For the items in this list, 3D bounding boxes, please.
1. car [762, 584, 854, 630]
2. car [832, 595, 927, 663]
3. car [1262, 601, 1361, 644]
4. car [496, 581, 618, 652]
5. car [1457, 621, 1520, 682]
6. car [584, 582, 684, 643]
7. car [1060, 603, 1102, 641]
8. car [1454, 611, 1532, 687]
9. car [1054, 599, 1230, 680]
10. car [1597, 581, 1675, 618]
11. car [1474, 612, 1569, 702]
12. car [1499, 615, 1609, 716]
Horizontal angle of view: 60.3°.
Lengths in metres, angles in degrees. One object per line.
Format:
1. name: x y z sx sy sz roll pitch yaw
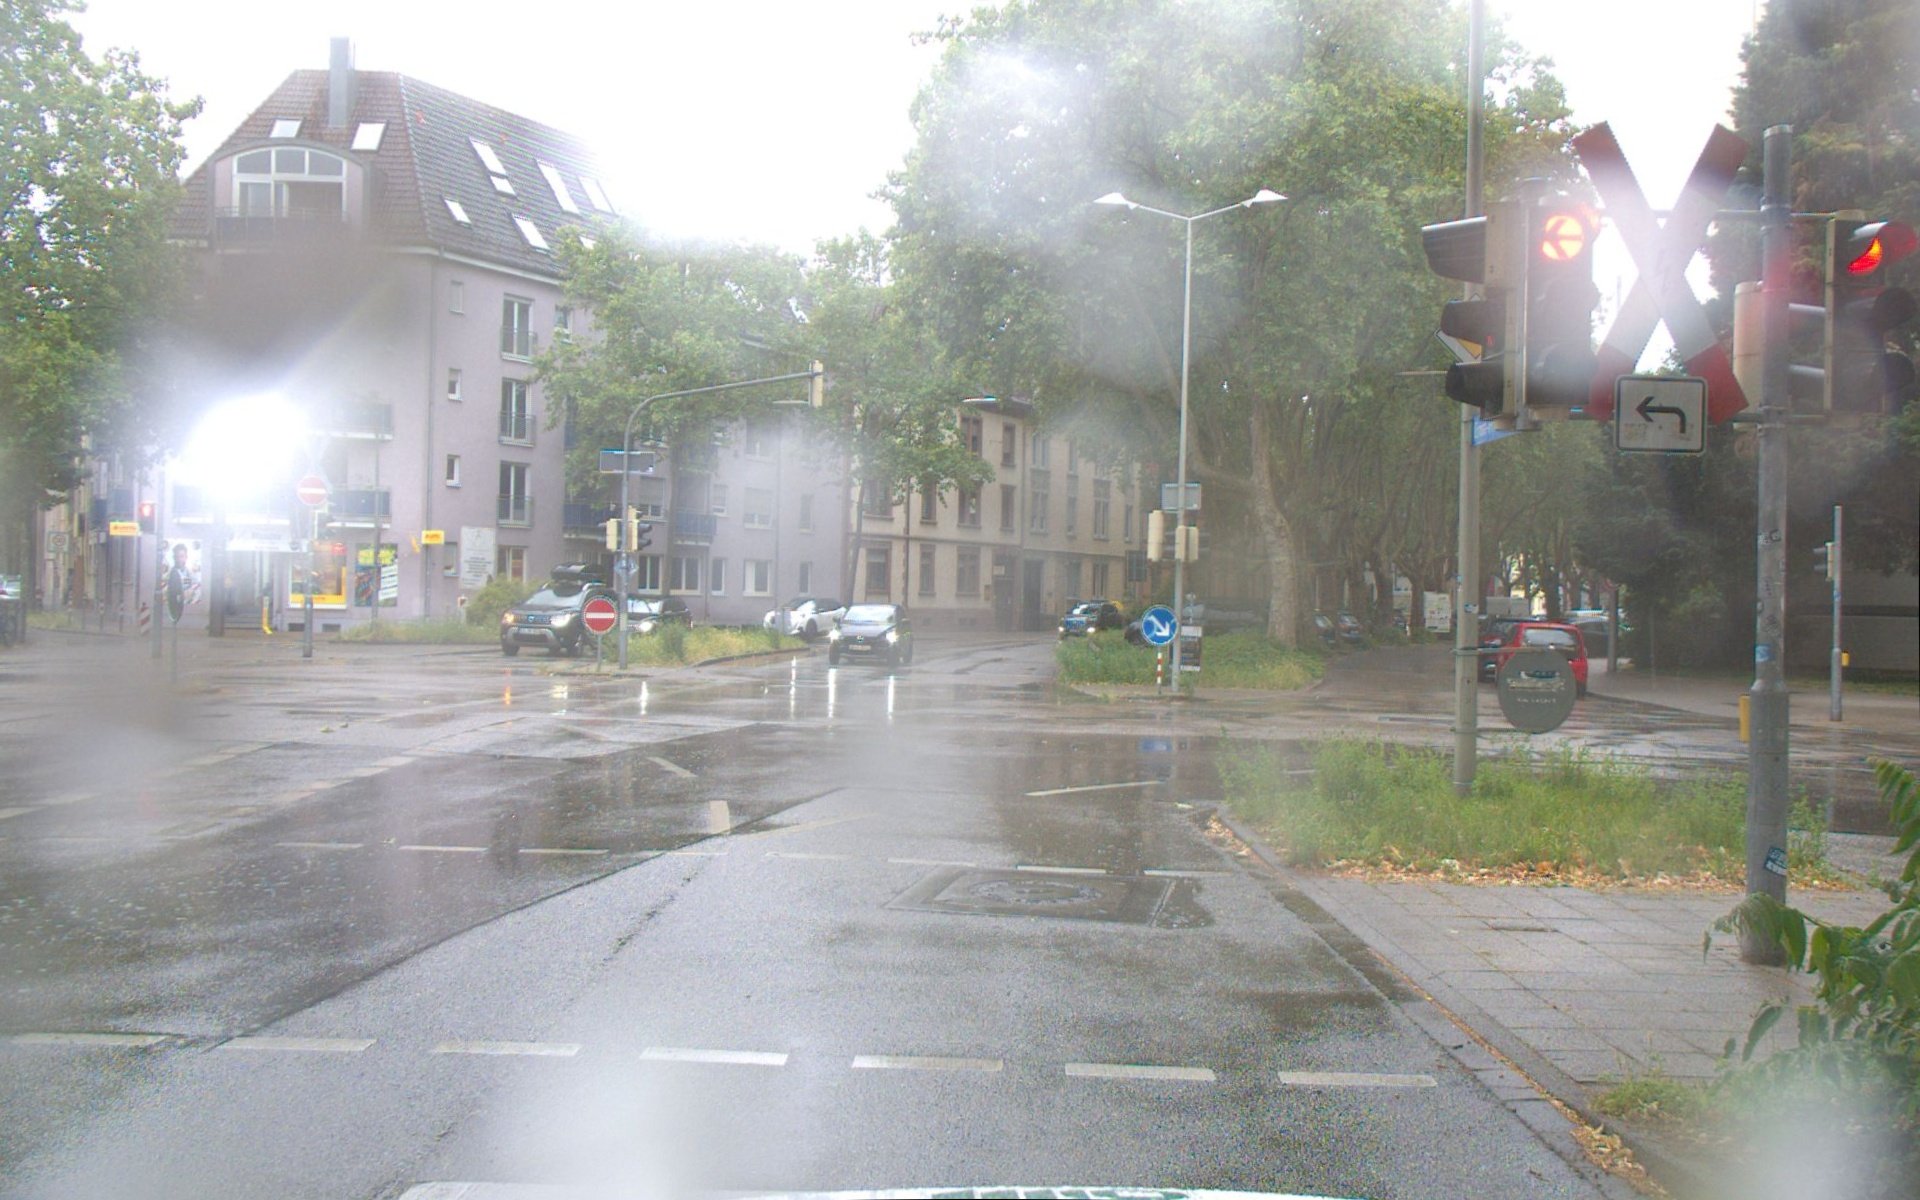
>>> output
1. car: -5.392 0.232 59.208 1.642 1.579 4.200 0 0 20
2. car: -1.925 0.672 40.482 1.568 1.579 3.563 0 0 10
3. car: 13.993 0.893 65.775 3.537 1.646 1.679 0 0 28
4. car: -9.346 0.359 38.630 1.688 1.579 3.562 -1 0 5
5. car: 19.111 1.825 59.925 1.951 2.049 4.003 0 0 15
6. car: -8.777 0.317 44.794 1.688 1.579 3.562 -1 0 5
7. car: 5.382 0.959 73.272 1.568 1.579 3.563 0 0 9
8. car: 15.456 1.389 48.090 1.951 2.049 4.003 0 0 15
9. car: 3.653 0.773 33.030 3.405 1.550 1.521 0 0 8
10. car: 37.780 -0.033 92.521 3.903 2.049 1.708 0 0 19
11. car: 13.873 1.362 41.038 1.951 2.049 4.003 0 0 15
12. car: 13.112 1.395 36.721 1.951 2.049 4.003 0 0 15
